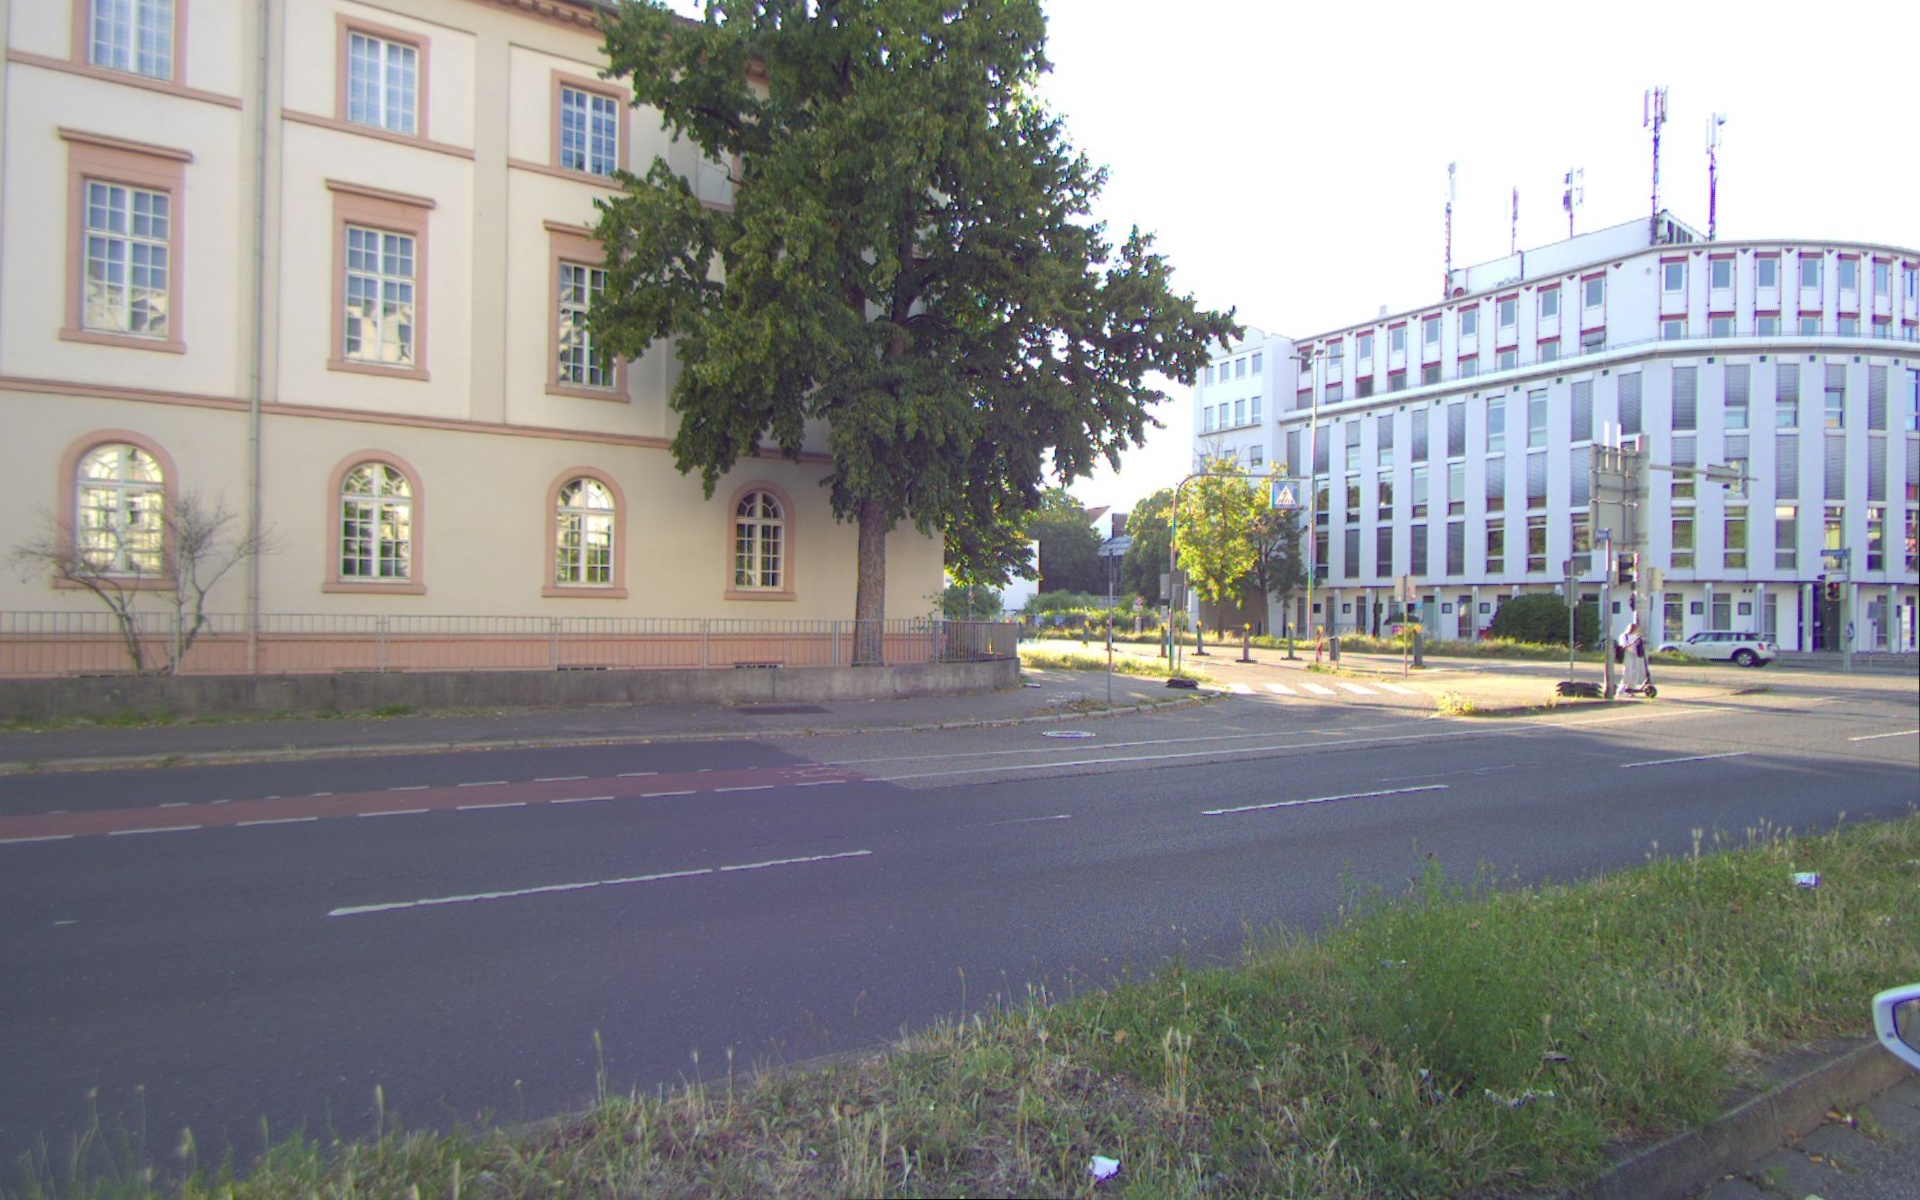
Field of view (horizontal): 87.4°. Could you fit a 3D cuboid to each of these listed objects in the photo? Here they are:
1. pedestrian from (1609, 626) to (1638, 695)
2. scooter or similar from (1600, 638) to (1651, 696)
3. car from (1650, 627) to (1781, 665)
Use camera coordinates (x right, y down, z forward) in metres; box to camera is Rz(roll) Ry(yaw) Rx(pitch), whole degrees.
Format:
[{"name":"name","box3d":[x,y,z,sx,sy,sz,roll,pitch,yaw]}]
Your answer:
[{"name":"pedestrian","box3d":[14.902,1.344,22.560,0.332,1.525,0.470,1,-1,-41]},{"name":"scooter or similar","box3d":[14.822,1.481,22.368,0.368,1.250,0.885,1,-1,-40]},{"name":"car","box3d":[30.836,1.836,41.076,1.770,1.439,3.961,1,-1,-35]}]
